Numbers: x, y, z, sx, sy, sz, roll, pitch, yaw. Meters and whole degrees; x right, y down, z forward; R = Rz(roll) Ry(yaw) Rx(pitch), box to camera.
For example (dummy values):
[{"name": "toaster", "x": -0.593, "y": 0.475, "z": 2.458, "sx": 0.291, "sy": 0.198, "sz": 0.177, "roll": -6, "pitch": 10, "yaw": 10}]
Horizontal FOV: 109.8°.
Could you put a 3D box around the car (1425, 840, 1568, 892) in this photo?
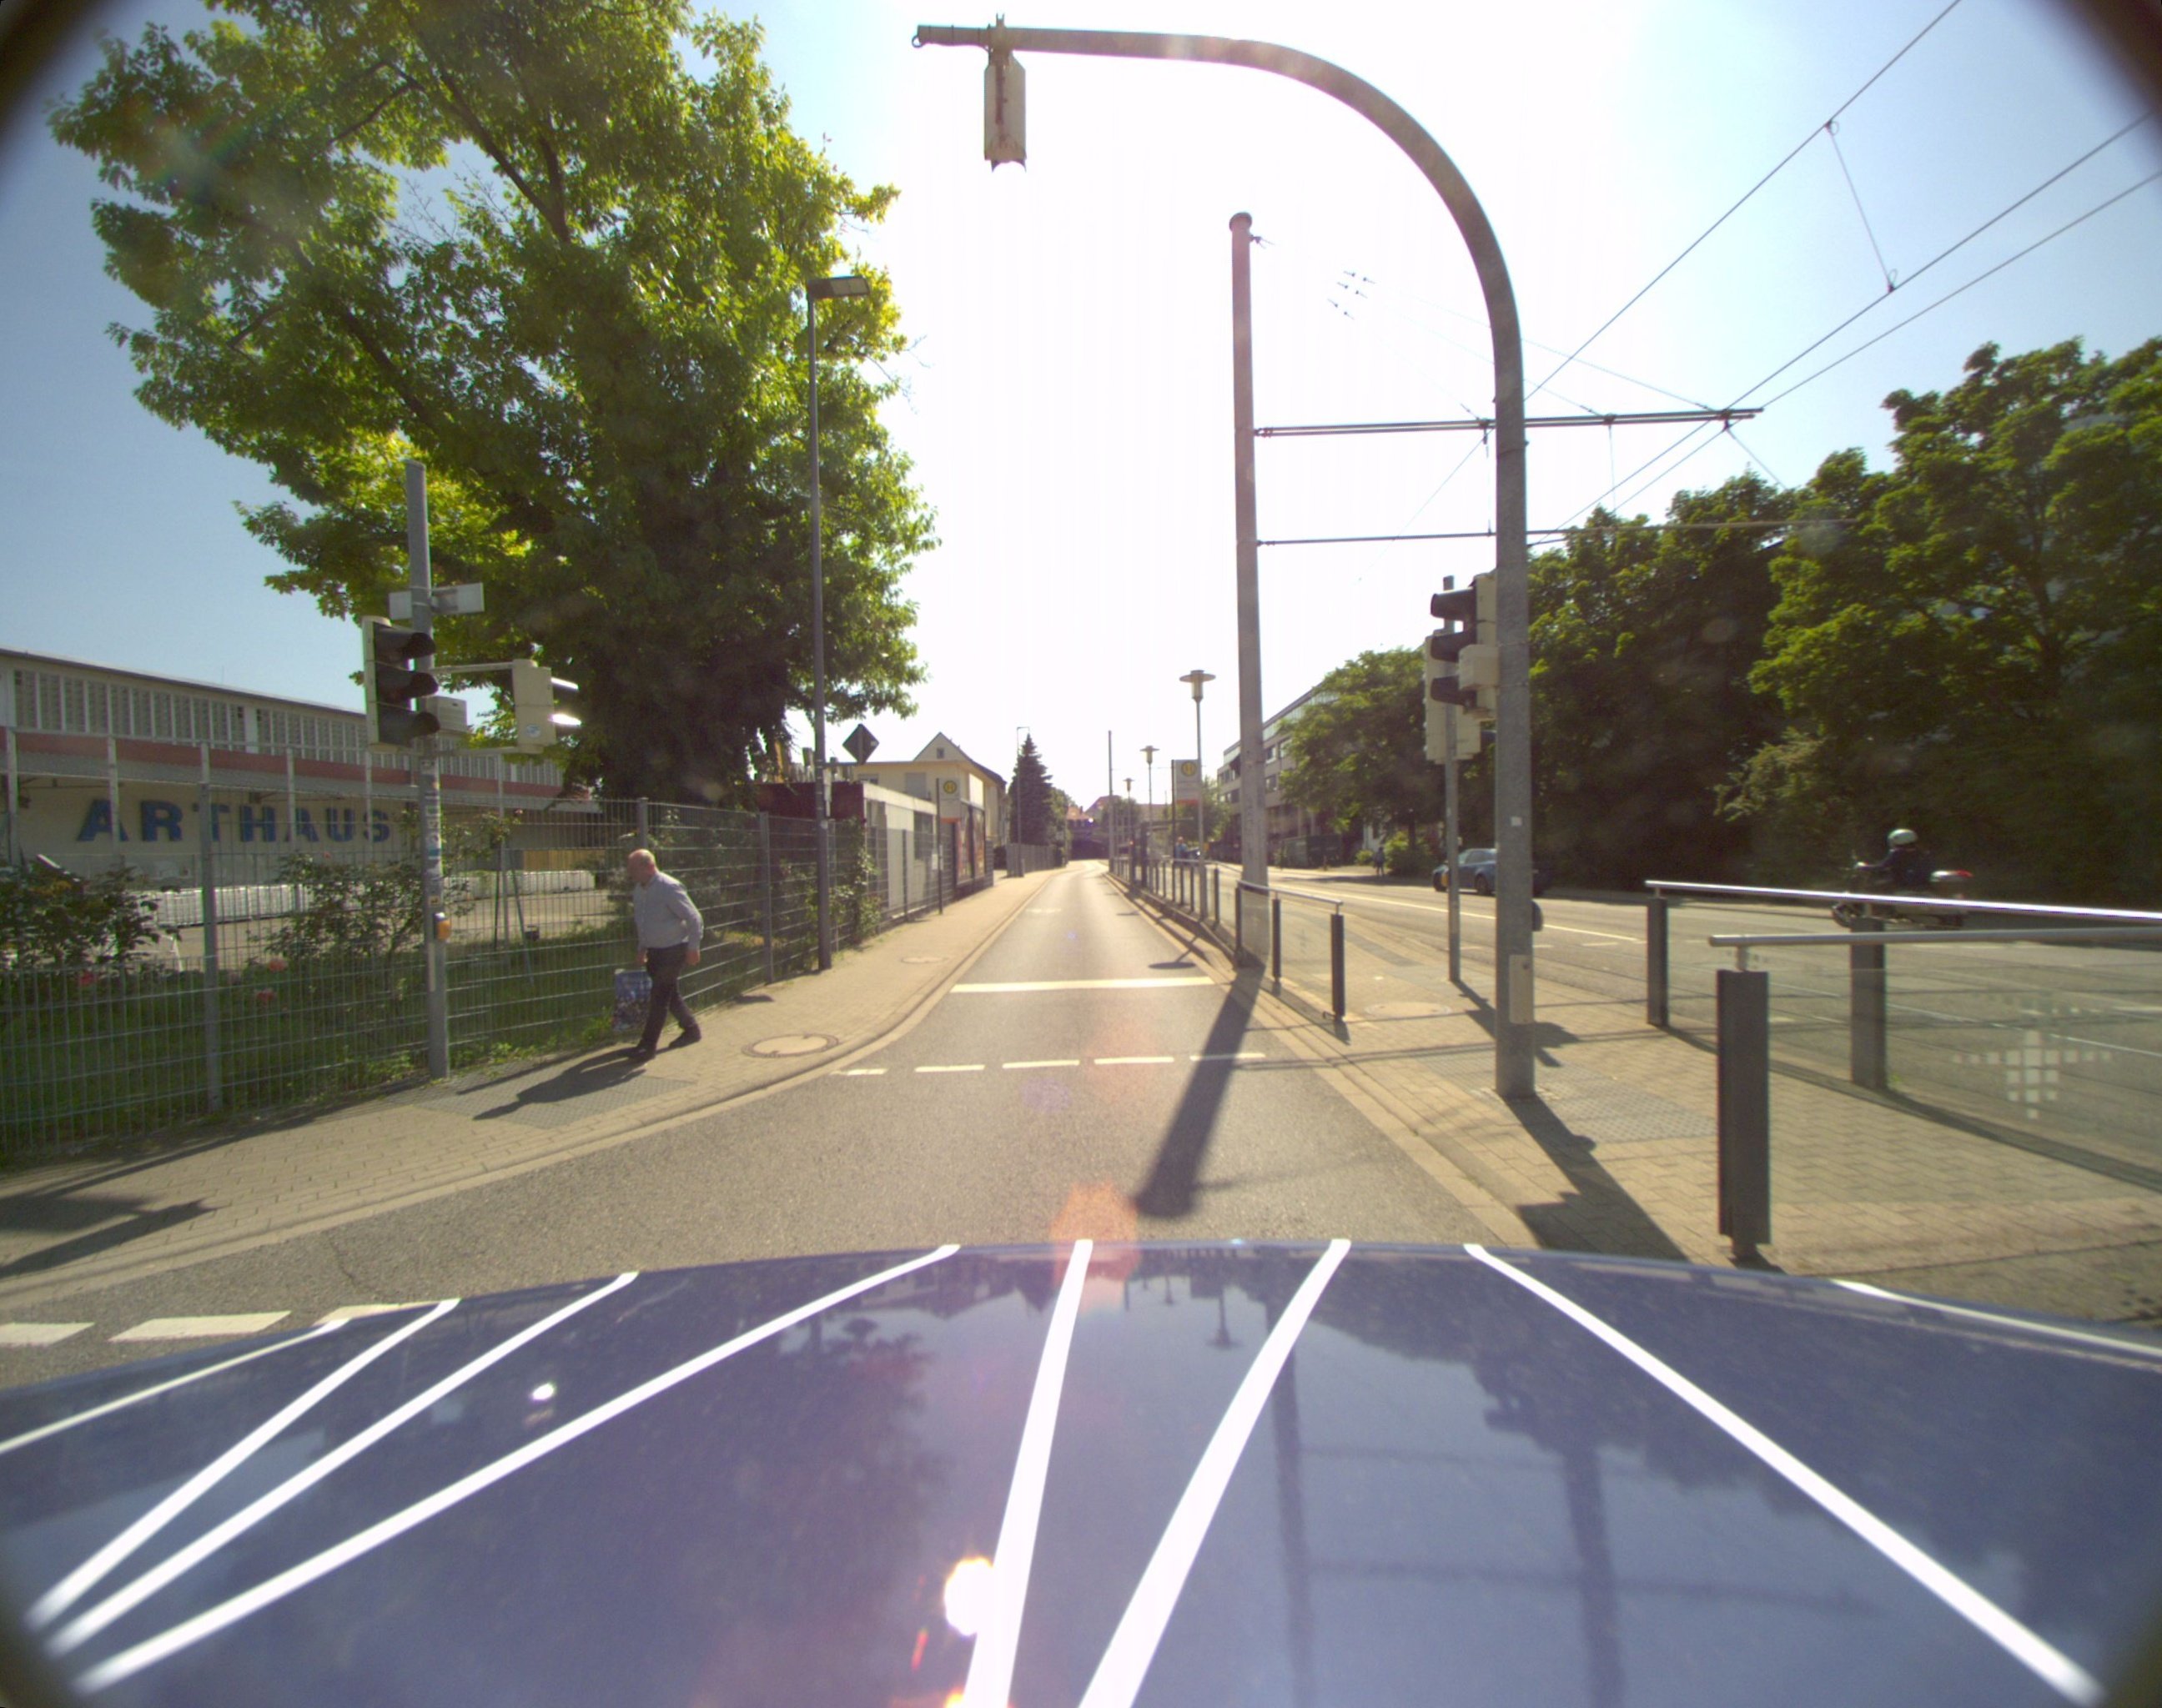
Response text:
[{"name": "car", "x": 12.724, "y": 0.313, "z": 23.673, "sx": 1.911, "sy": 1.433, "sz": 4.595, "roll": 1, "pitch": 0, "yaw": 0}]

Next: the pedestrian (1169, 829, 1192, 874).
[{"name": "pedestrian", "x": 3.867, "y": -0.111, "z": 29.676, "sx": 0.726, "sy": 1.714, "sz": 0.944, "roll": -2, "pitch": 0, "yaw": 0}]

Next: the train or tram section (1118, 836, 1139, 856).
[{"name": "train or tram section", "x": 8.354, "y": -1.405, "z": 135.345, "sx": 2.680, "sy": 3.464, "sz": 13.387, "roll": -1, "pitch": 0, "yaw": 0}]

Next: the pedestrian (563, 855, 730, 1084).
[{"name": "pedestrian", "x": -3.407, "y": 0.852, "z": 6.046, "sx": 0.815, "sy": 1.689, "sz": 0.887, "roll": 0, "pitch": 1, "yaw": -2}]

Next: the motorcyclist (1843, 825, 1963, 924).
[{"name": "motorcyclist", "x": 12.823, "y": 0.307, "z": 11.892, "sx": 0.837, "sy": 1.467, "sz": 0.963, "roll": -1, "pitch": 1, "yaw": 4}]

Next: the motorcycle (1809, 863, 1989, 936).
[{"name": "motorcycle", "x": 12.845, "y": 0.677, "z": 12.046, "sx": 0.824, "sy": 1.005, "sz": 1.964, "roll": -1, "pitch": 1, "yaw": 4}]

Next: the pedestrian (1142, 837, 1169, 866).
[{"name": "pedestrian", "x": 2.872, "y": -0.091, "z": 29.430, "sx": 0.945, "sy": 1.093, "sz": 0.726, "roll": -2, "pitch": 0, "yaw": -1}]

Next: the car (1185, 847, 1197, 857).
[{"name": "car", "x": 17.849, "y": -0.324, "z": 123.335, "sx": 1.870, "sy": 1.608, "sz": 4.002, "roll": 0, "pitch": 0, "yaw": 7}]

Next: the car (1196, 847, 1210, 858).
[{"name": "car", "x": 18.580, "y": -0.270, "z": 115.822, "sx": 1.997, "sy": 1.613, "sz": 4.002, "roll": 0, "pitch": 0, "yaw": 7}]

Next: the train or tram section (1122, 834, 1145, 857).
[{"name": "train or tram section", "x": 8.445, "y": -1.292, "z": 122.579, "sx": 2.680, "sy": 3.464, "sz": 12.325, "roll": -1, "pitch": 0, "yaw": 0}]

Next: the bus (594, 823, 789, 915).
[{"name": "bus", "x": -15.473, "y": 0.323, "z": 31.471, "sx": 2.572, "sy": 3.154, "sz": 10.264, "roll": -1, "pitch": 2, "yaw": 1}]

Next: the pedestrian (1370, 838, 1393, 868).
[{"name": "pedestrian", "x": 15.767, "y": -0.048, "z": 39.896, "sx": 0.873, "sy": 1.518, "sz": 0.846, "roll": -1, "pitch": 1, "yaw": -1}]
